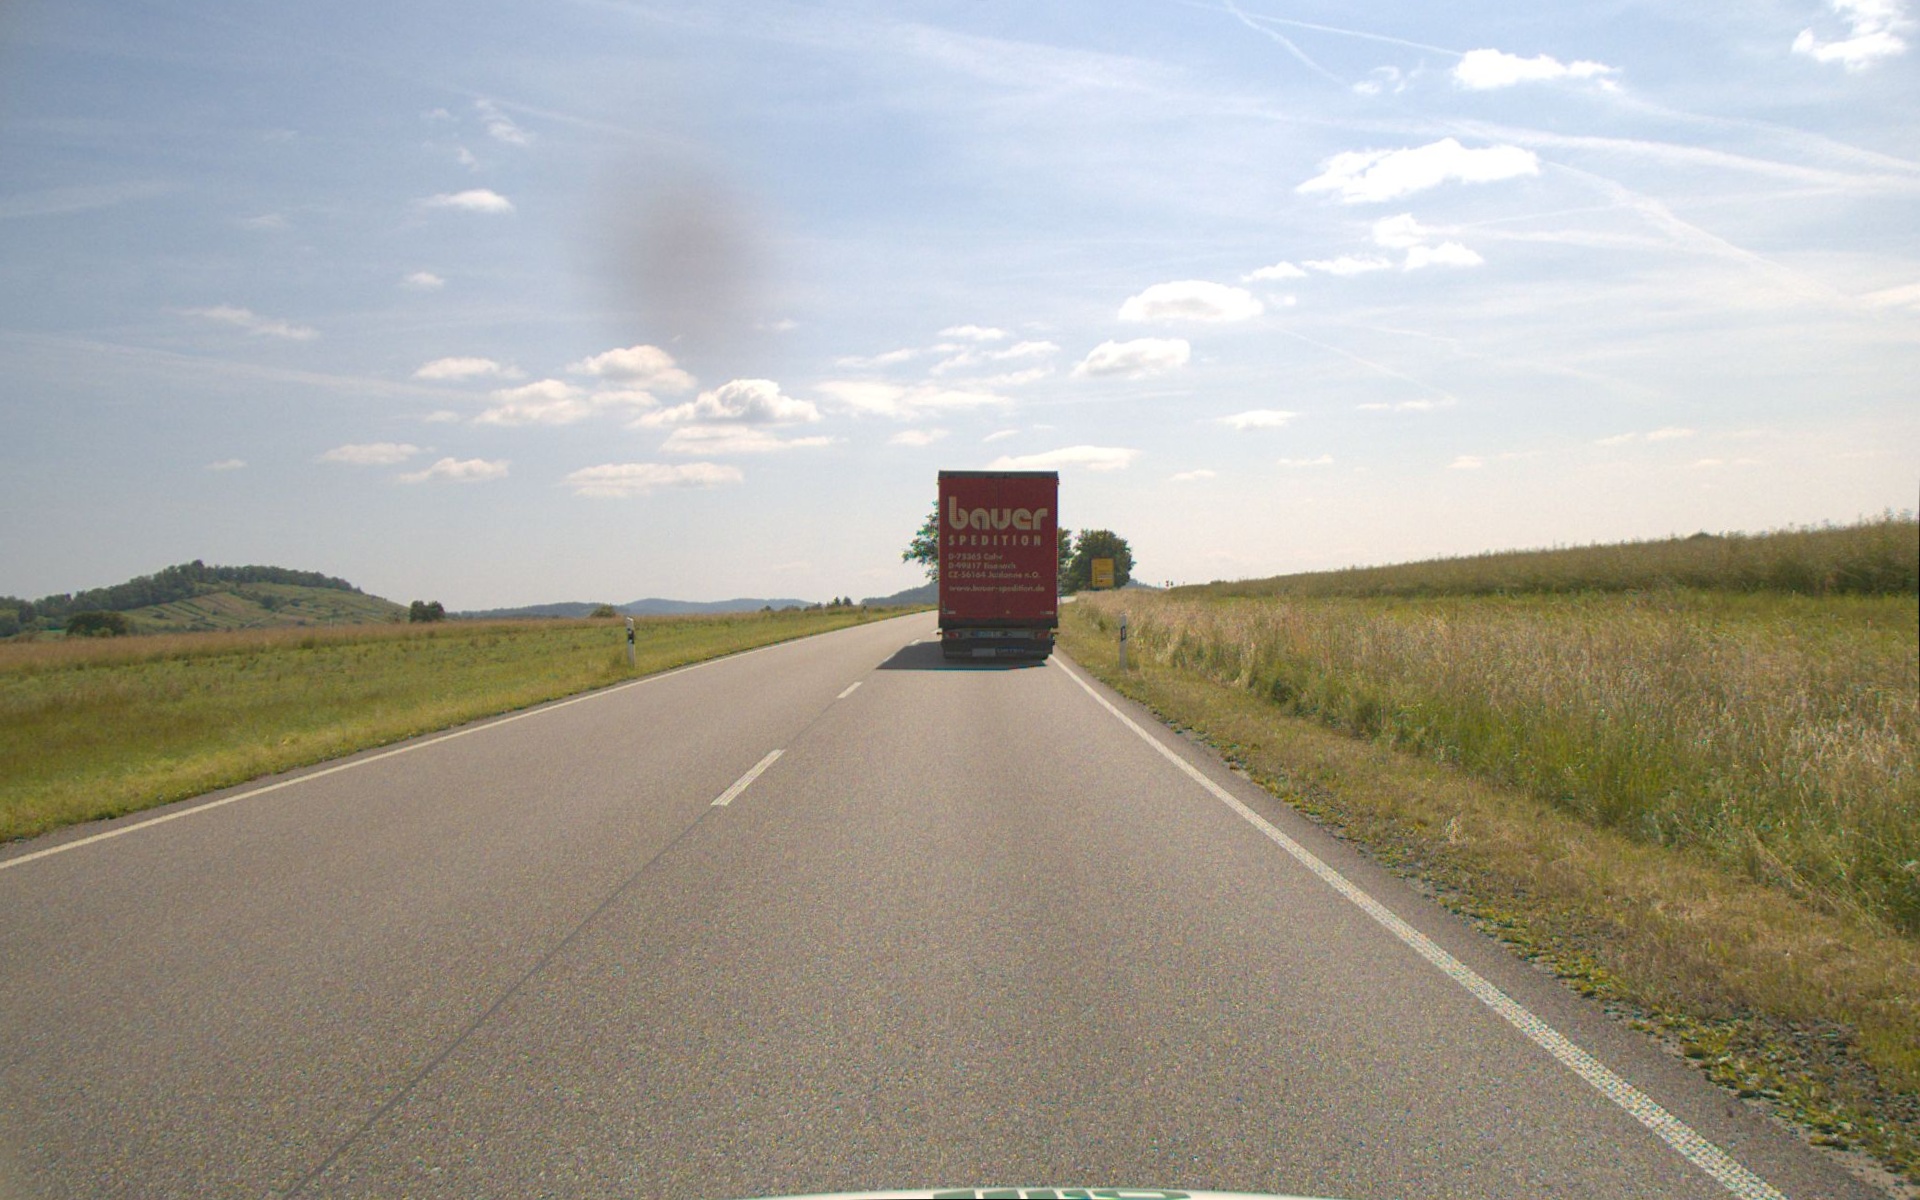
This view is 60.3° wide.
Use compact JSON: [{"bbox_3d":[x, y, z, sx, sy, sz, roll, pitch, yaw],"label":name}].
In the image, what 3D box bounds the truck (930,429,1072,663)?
[{"bbox_3d":[0.886,-1.170,38.654,2.914,4.795,9.367,0,1,1],"label":"truck"}]
